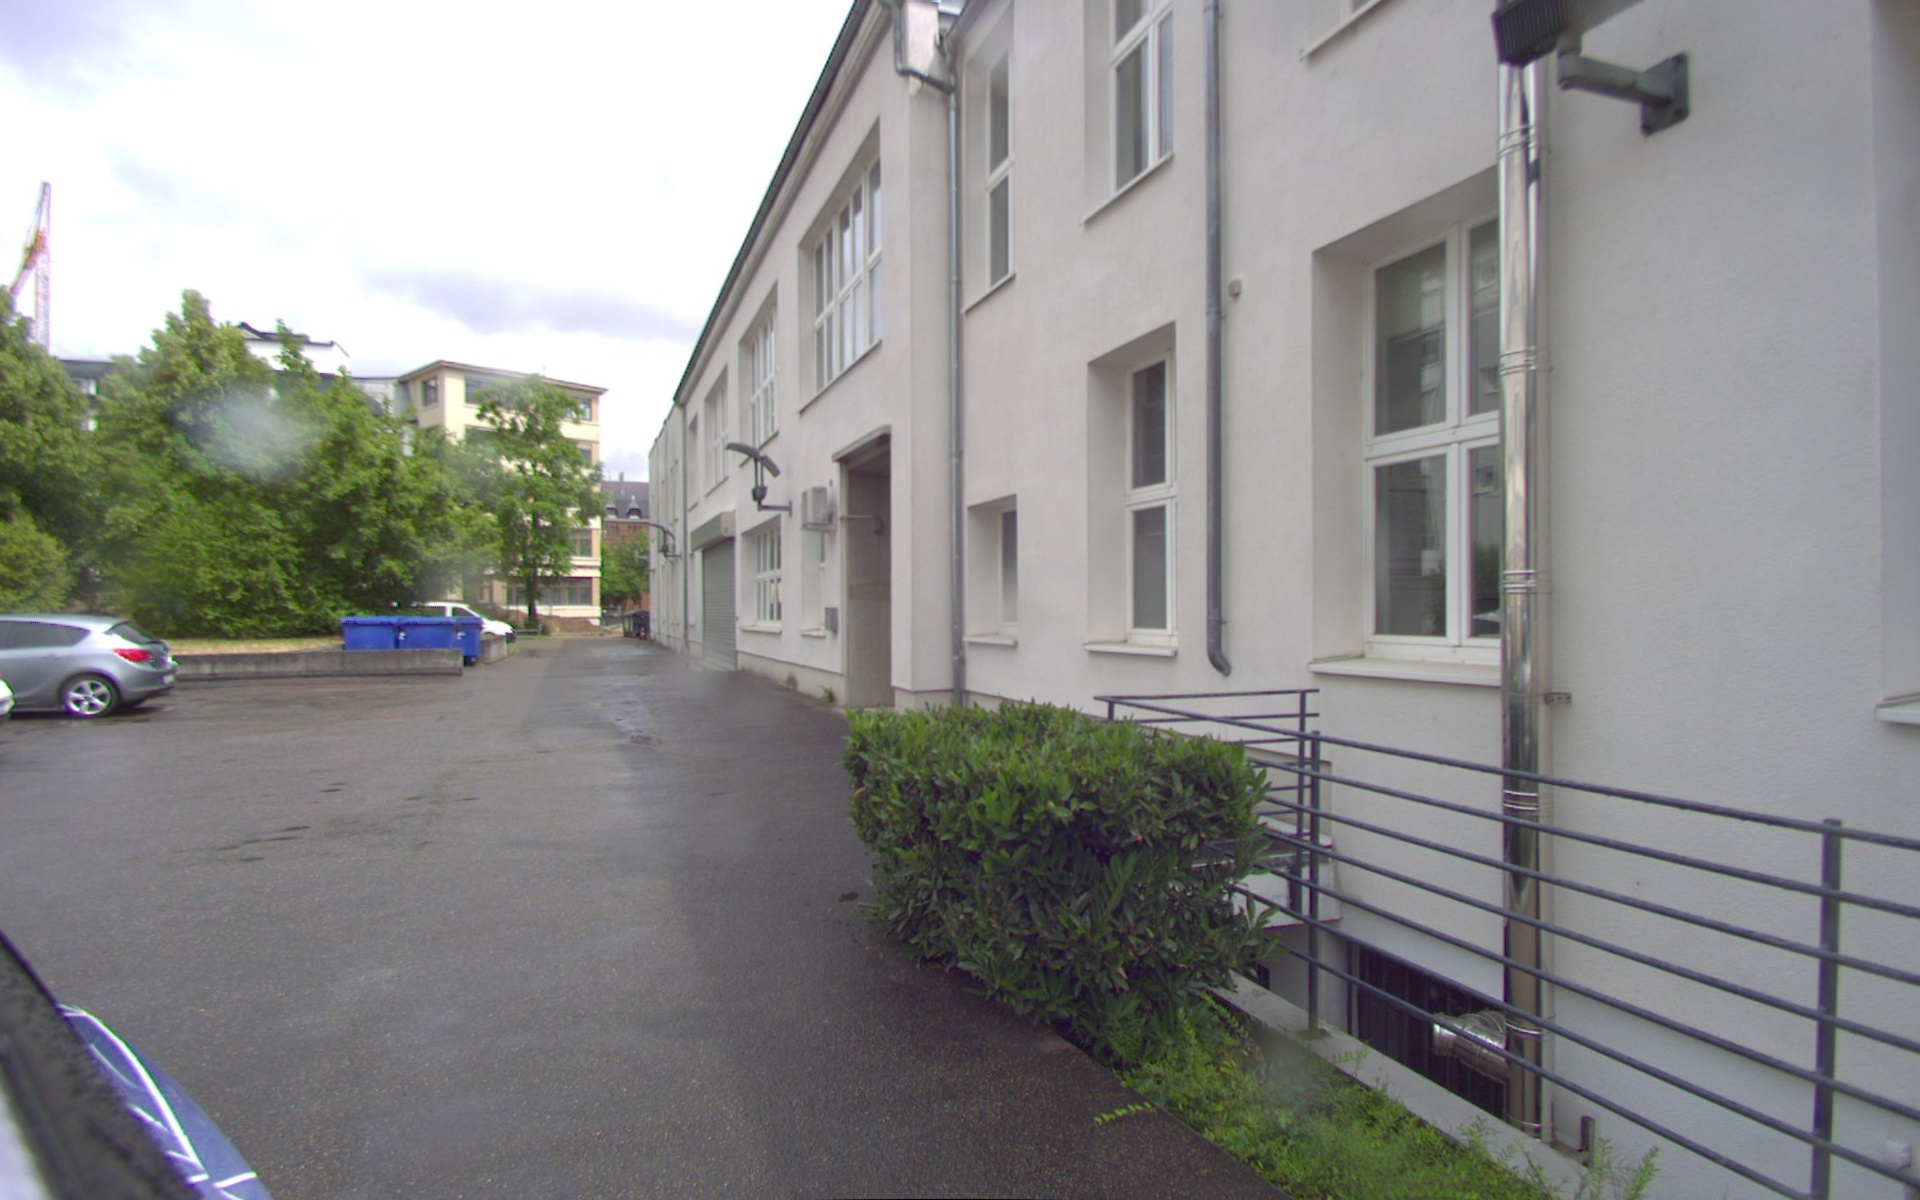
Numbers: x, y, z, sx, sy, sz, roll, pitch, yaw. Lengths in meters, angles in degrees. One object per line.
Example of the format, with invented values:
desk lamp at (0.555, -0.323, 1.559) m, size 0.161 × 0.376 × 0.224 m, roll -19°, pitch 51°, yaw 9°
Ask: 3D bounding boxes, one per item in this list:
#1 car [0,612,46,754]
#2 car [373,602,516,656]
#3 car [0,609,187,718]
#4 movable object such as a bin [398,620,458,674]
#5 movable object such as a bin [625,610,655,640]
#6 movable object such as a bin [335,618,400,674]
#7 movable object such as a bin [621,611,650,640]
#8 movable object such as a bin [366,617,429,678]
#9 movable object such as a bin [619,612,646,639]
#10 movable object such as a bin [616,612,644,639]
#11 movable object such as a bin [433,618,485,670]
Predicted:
car at (-11.840, 0.832, 9.801) m, size 4.039 × 1.466 × 1.839 m, roll 1°, pitch -1°, yaw -25°
car at (-20.713, 1.140, 40.897) m, size 4.868 × 2.029 × 2.006 m, roll -1°, pitch -1°, yaw -18°
car at (-13.792, 0.872, 14.505) m, size 4.022 × 1.469 × 1.674 m, roll 1°, pitch 0°, yaw -25°
movable object such as a bin at (-13.279, 1.163, 25.321) m, size 1.212 × 1.327 × 1.059 m, roll 0°, pitch -2°, yaw -22°
movable object such as a bin at (-16.602, 1.285, 52.486) m, size 1.340 × 1.482 × 1.370 m, roll -2°, pitch -1°, yaw -22°
movable object such as a bin at (-14.518, 1.108, 24.823) m, size 1.212 × 1.327 × 1.059 m, roll 0°, pitch -2°, yaw -22°
movable object such as a bin at (-17.356, 1.343, 54.045) m, size 1.340 × 1.482 × 1.370 m, roll -2°, pitch -1°, yaw -22°
movable object such as a bin at (-14.644, 1.216, 26.382) m, size 1.257 × 1.494 × 1.105 m, roll -2°, pitch -1°, yaw -22°
movable object such as a bin at (-18.298, 1.425, 56.533) m, size 1.340 × 1.482 × 1.469 m, roll -2°, pitch -1°, yaw -22°
movable object such as a bin at (-18.959, 1.481, 58.162) m, size 1.389 × 1.482 × 1.566 m, roll -2°, pitch -1°, yaw -22°
movable object such as a bin at (-13.463, 1.183, 27.230) m, size 1.158 × 1.327 × 1.059 m, roll -2°, pitch -1°, yaw -22°
